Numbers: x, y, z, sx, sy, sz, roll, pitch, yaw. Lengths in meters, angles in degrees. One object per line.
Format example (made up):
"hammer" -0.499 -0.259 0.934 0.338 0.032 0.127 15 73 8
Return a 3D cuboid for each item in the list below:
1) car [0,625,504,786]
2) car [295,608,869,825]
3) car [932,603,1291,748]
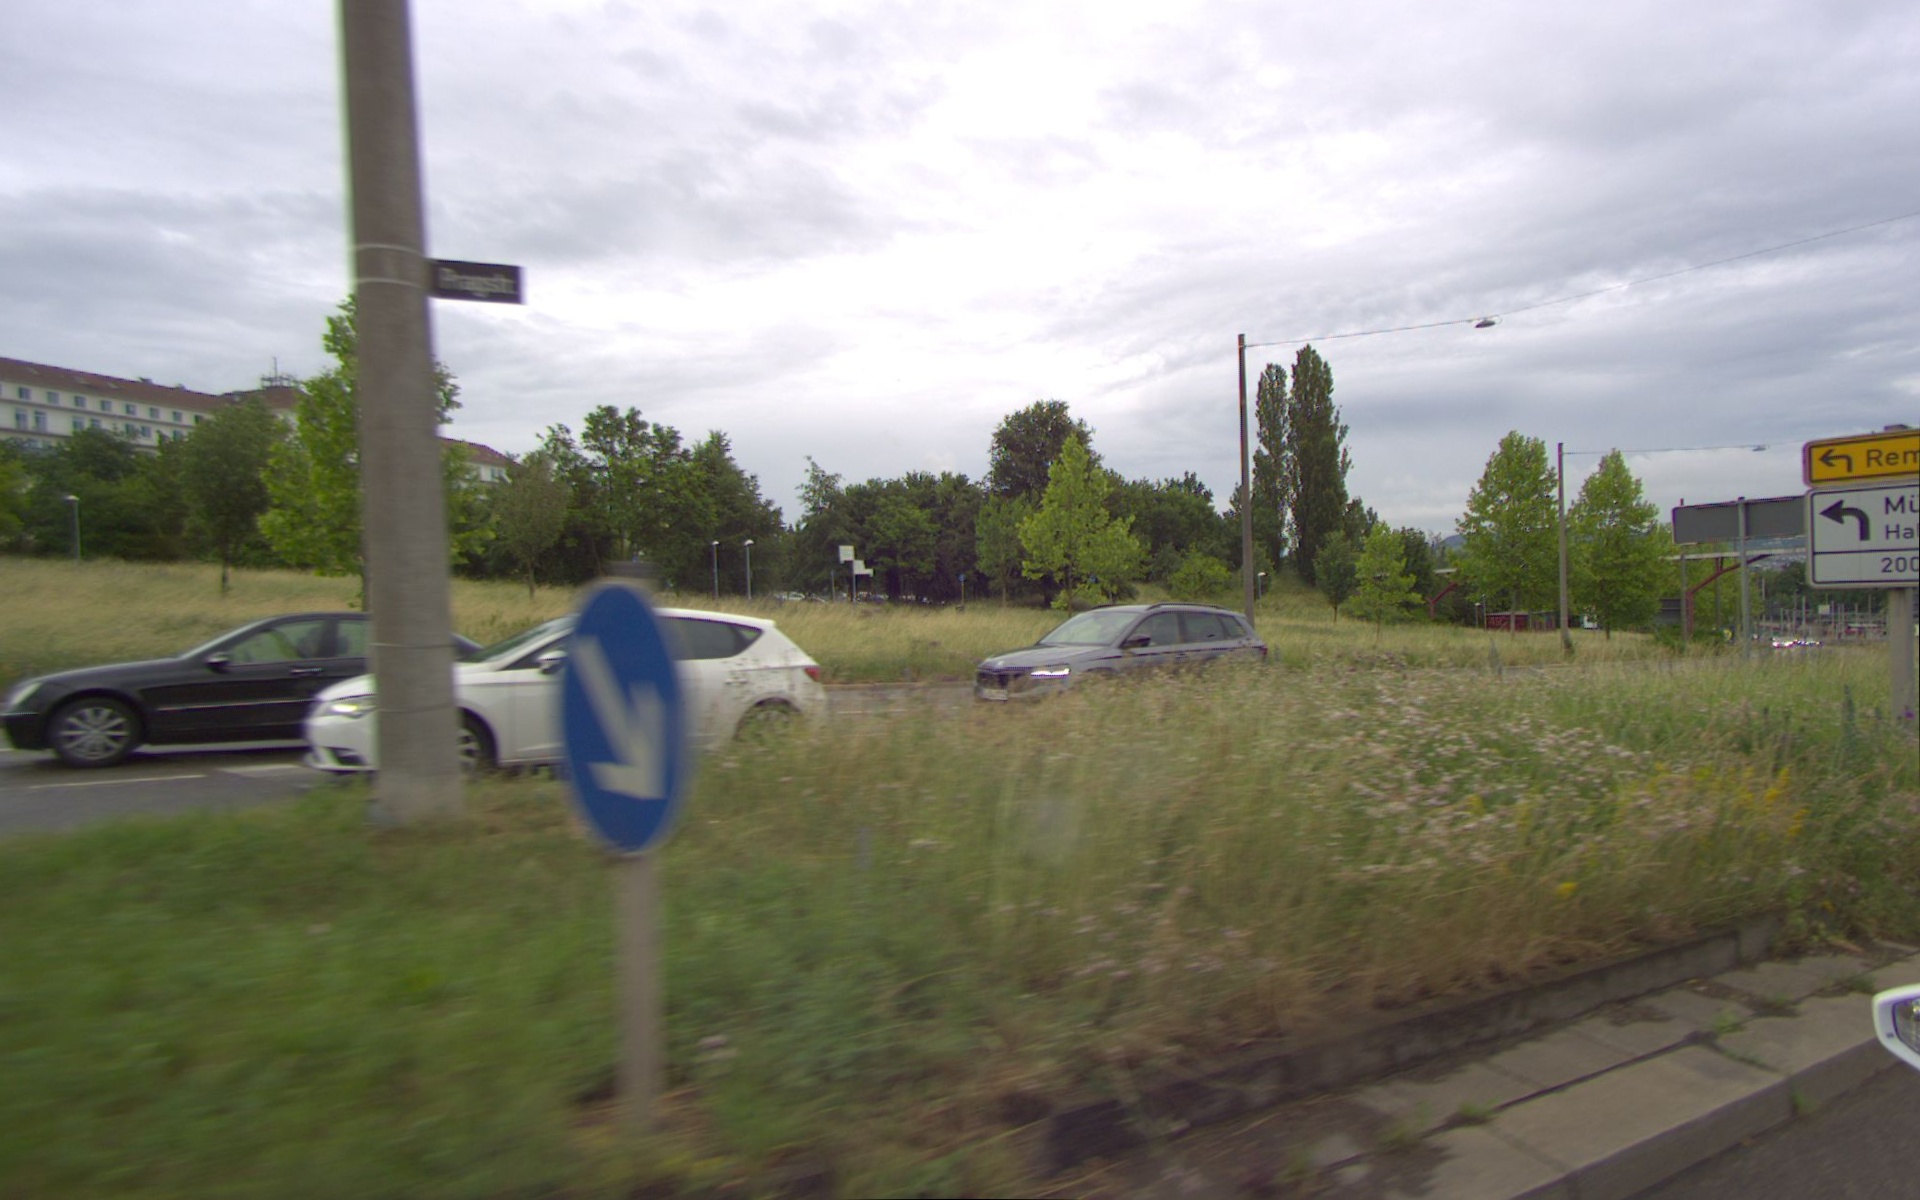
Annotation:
"car" -6.947 0.939 10.197 3.979 1.324 1.791 1 -2 -35
"car" -3.185 0.812 8.822 4.394 1.441 1.948 1 0 -35
"car" 2.005 0.830 12.730 4.394 1.532 1.980 1 0 -35
